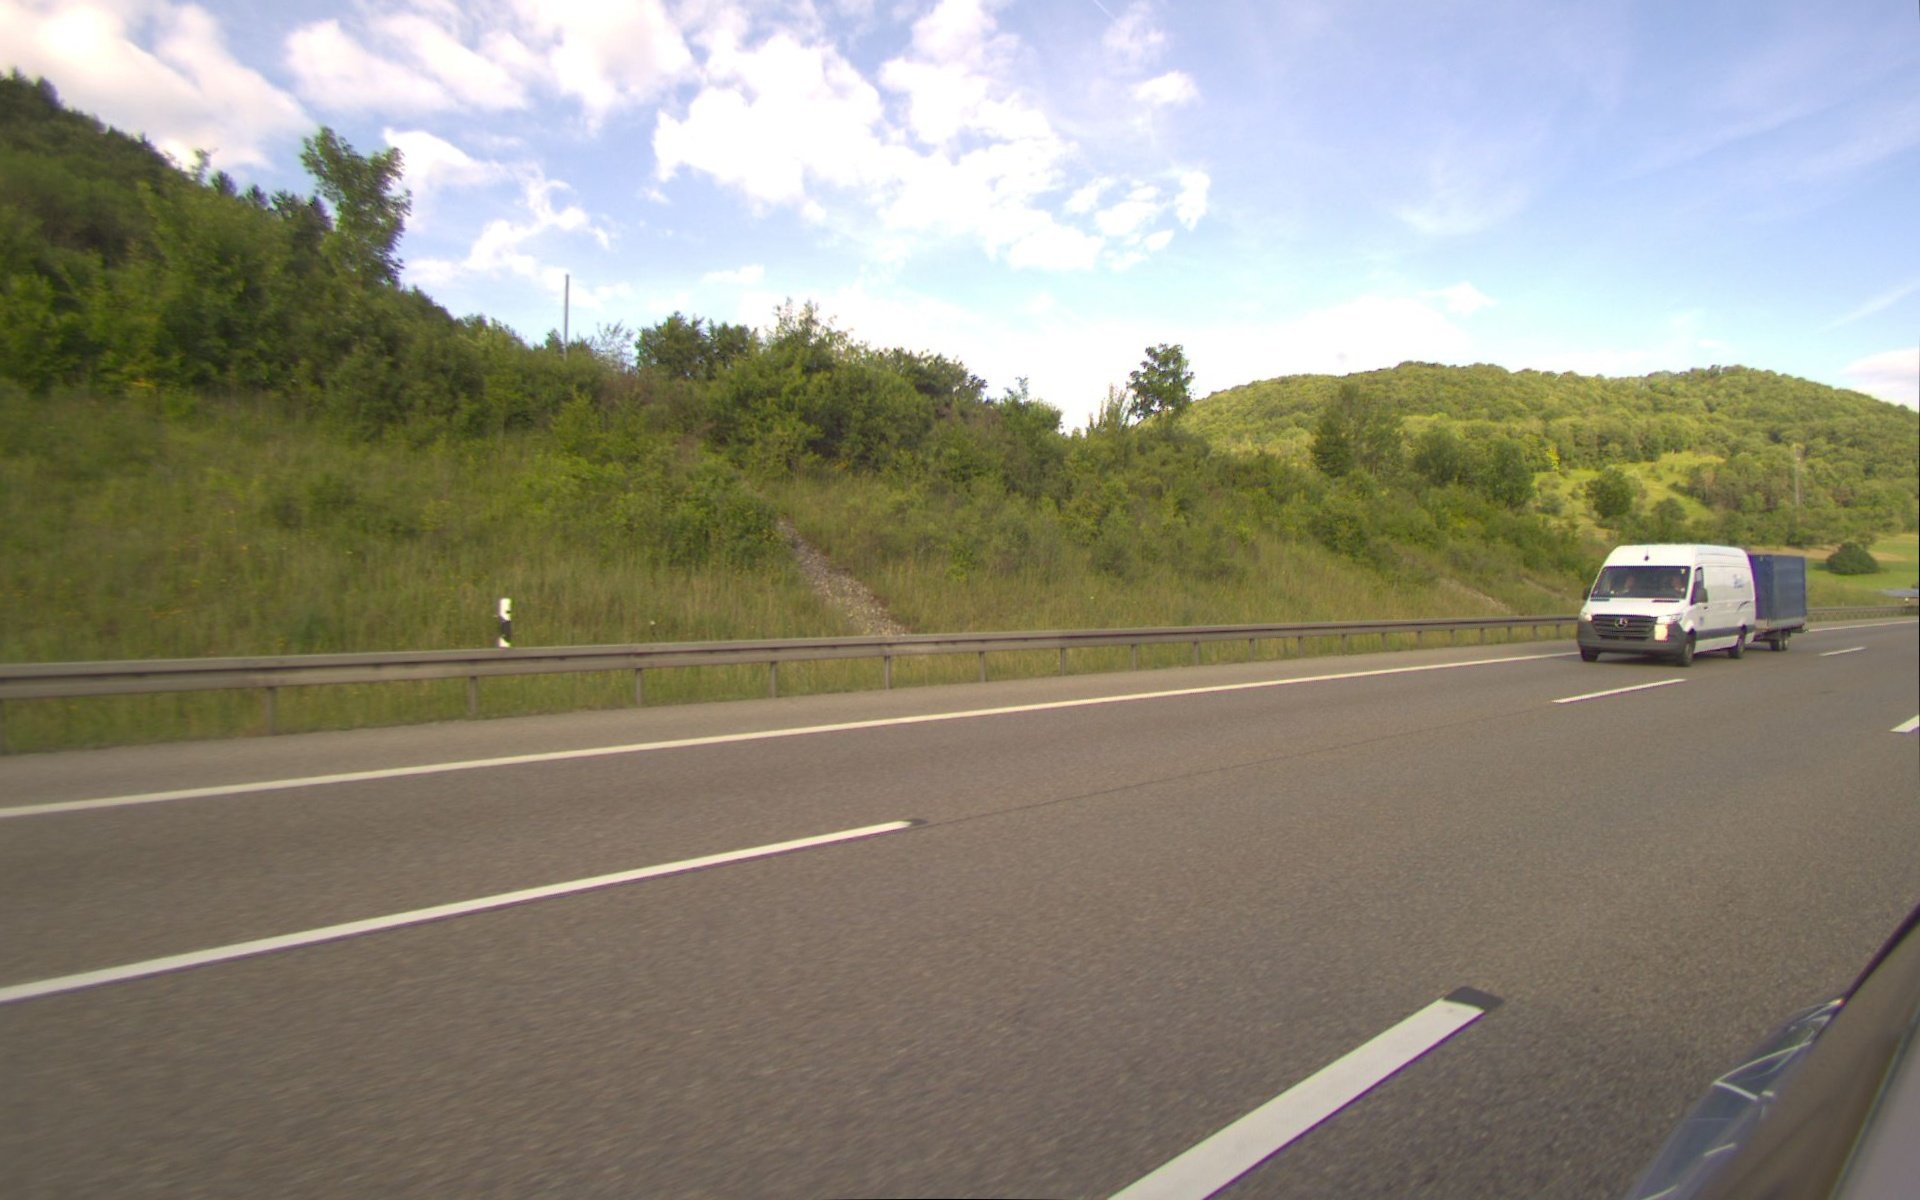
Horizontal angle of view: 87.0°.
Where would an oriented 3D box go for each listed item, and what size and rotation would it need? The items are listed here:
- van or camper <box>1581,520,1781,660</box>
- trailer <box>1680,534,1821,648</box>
[{"bbox_3d":[16.591,-0.207,23.059,7.390,2.751,1.997,0,0,-41],"label":"van or camper"},{"bbox_3d":[21.156,-0.240,27.004,5.157,2.760,1.997,0,1,-41],"label":"trailer"}]
